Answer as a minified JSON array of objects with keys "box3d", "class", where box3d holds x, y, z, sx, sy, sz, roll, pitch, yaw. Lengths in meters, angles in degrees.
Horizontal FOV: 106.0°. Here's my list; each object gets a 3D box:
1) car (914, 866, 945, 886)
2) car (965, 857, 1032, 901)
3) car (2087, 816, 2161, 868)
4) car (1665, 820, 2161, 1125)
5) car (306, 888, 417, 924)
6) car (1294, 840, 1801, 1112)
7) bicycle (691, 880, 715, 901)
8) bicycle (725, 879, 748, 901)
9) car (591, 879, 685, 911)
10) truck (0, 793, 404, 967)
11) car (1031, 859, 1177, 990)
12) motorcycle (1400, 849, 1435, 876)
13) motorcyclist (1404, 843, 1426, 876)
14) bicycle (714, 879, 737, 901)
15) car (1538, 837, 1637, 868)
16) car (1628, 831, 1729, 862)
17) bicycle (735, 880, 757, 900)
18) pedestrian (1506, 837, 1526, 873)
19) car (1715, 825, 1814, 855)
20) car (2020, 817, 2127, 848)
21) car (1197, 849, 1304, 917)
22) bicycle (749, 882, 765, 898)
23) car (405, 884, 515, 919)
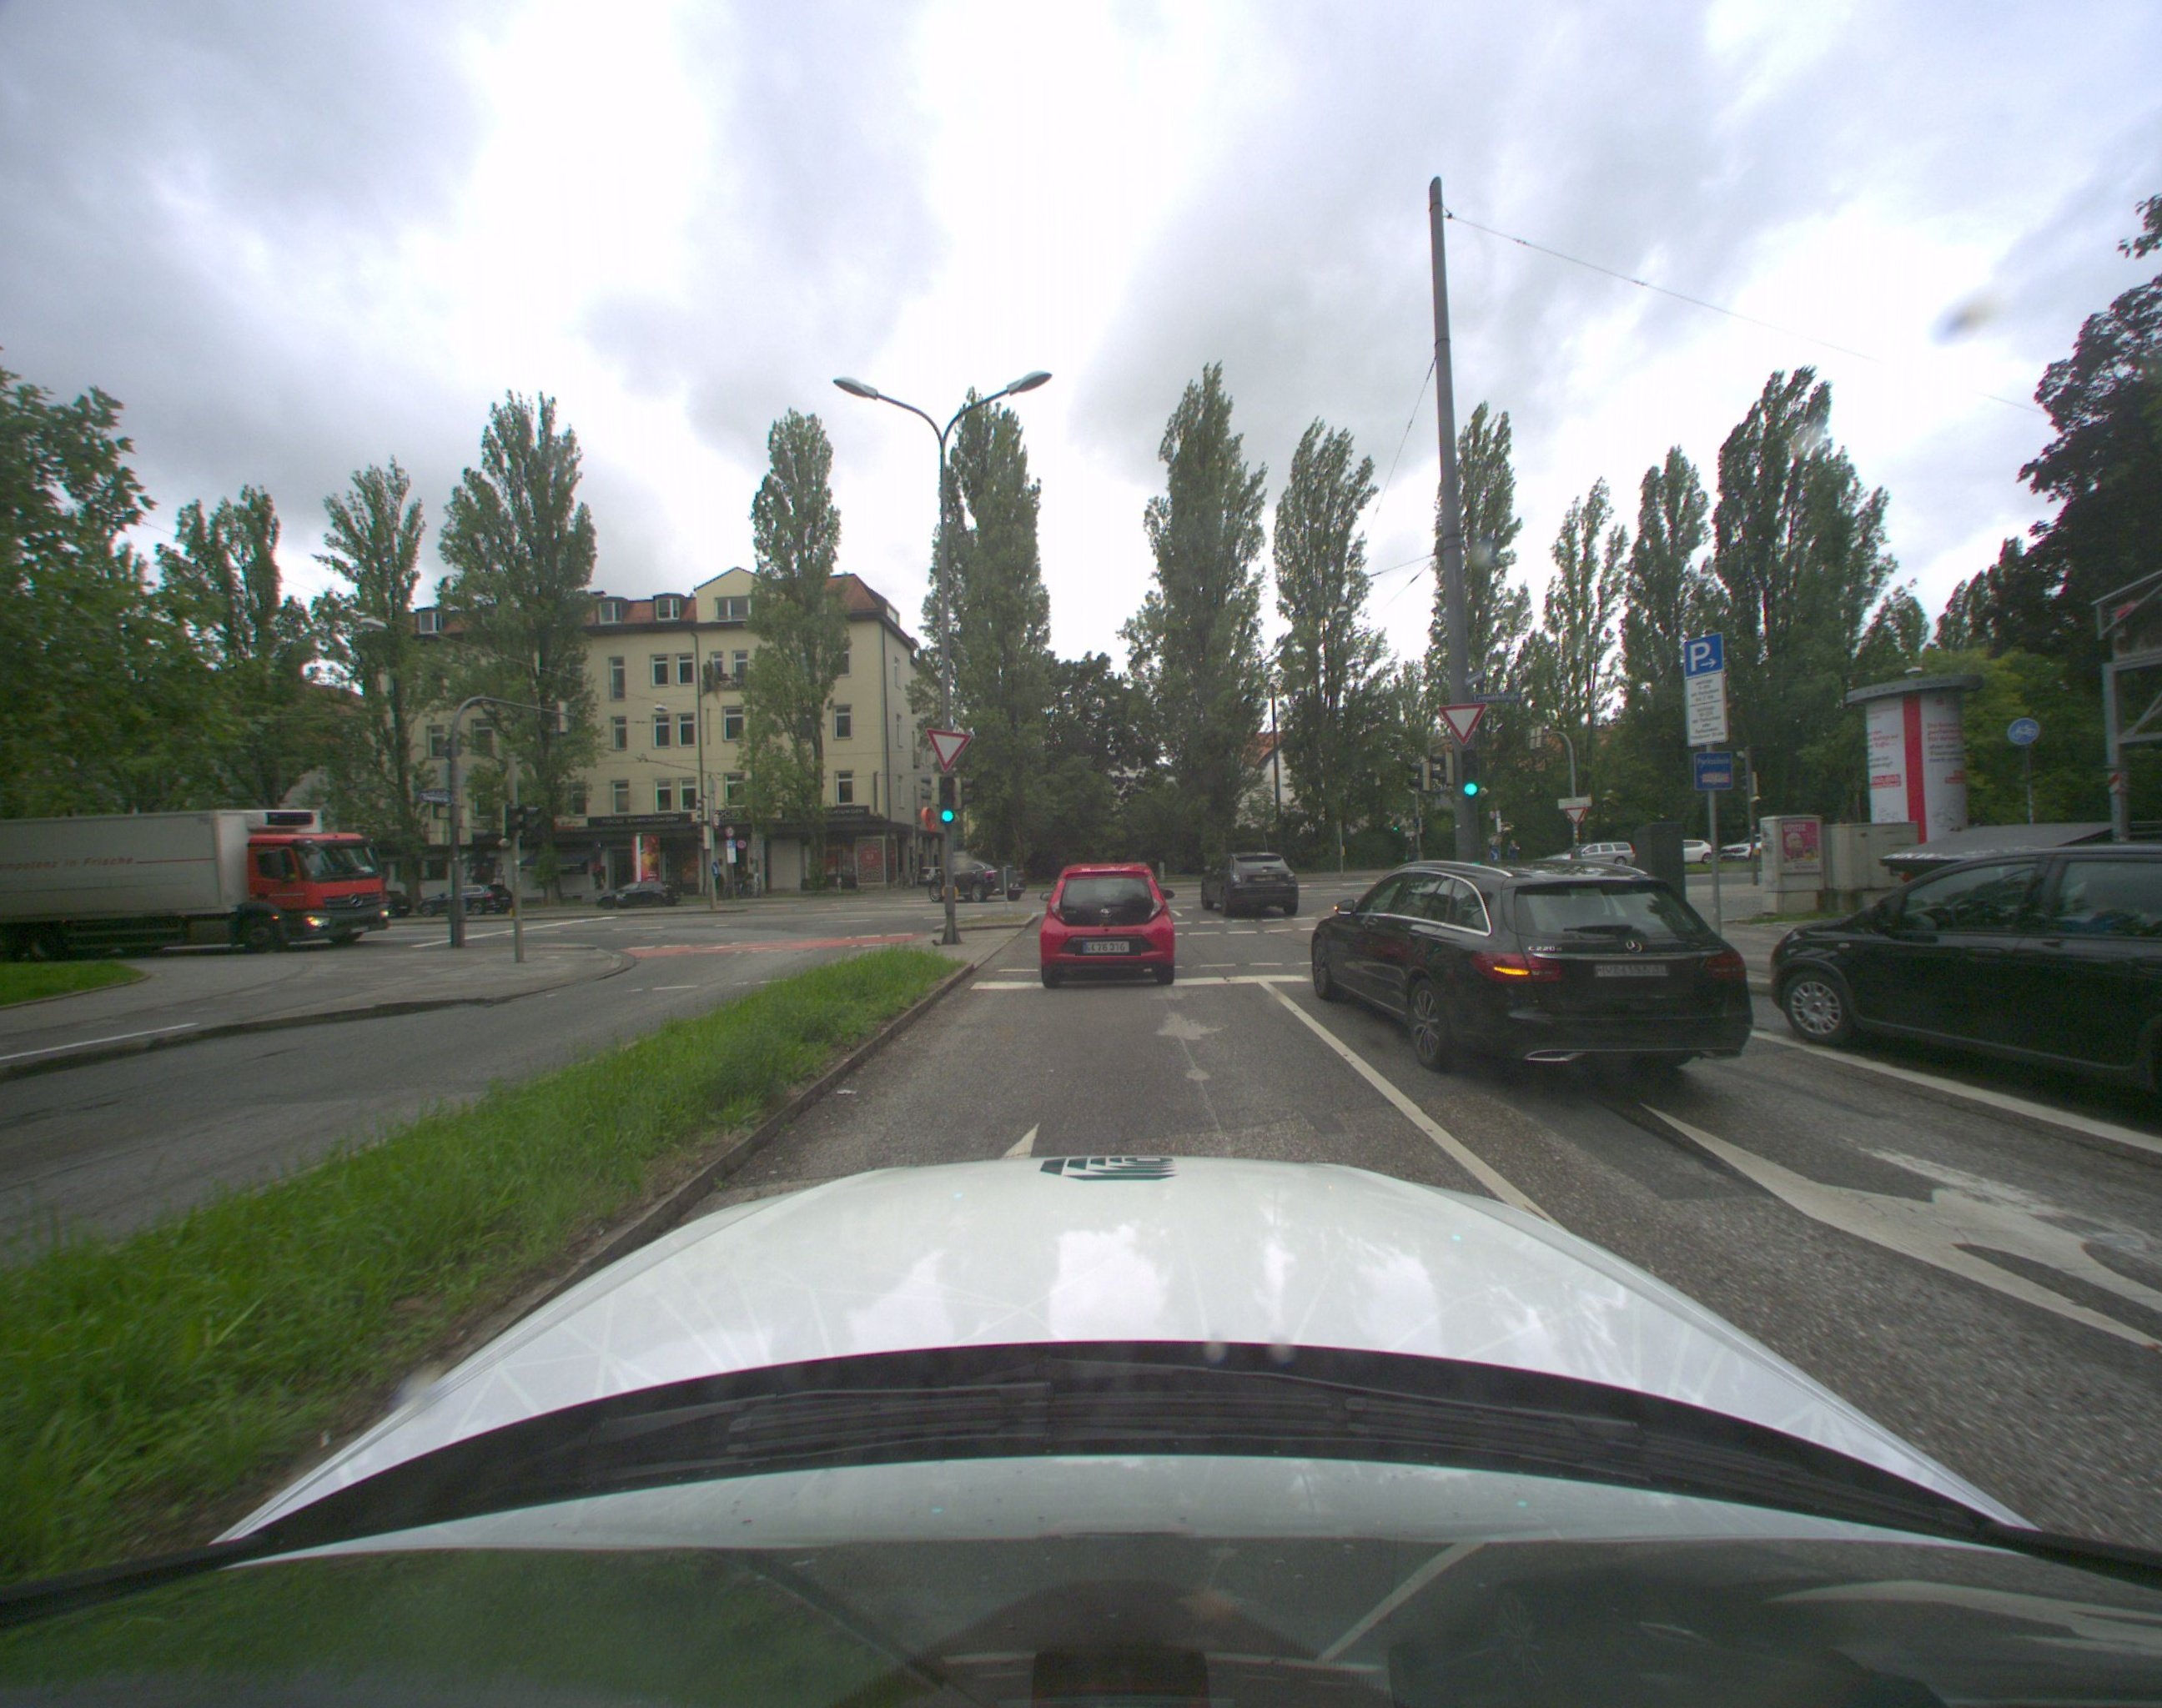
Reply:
[{"box3d":[-11.706,1.679,63.097,1.720,1.442,3.998,-2,0,-1],"class":"car"},{"box3d":[-3.305,0.953,31.954,1.740,1.549,4.550,-2,0,-17],"class":"car"},{"box3d":[31.785,-0.412,23.171,4.351,1.407,1.729,-2,-1,-3],"class":"car"},{"box3d":[6.493,0.578,5.612,1.823,1.549,4.558,-2,0,3],"class":"car"},{"box3d":[-38.217,2.748,43.321,4.275,1.612,1.806,-2,-1,1],"class":"car"},{"box3d":[3.294,0.719,7.043,1.856,1.549,4.706,-1,0,3],"class":"car"},{"box3d":[-22.102,2.118,47.626,0.493,1.185,1.888,-2,-1,-1],"class":"bicycle"},{"box3d":[-20.058,2.066,47.488,0.493,1.185,1.888,-2,-1,-1],"class":"bicycle"},{"box3d":[-23.556,2.183,43.392,3.976,1.466,1.804,-2,-1,-2],"class":"car"},{"box3d":[-25.036,0.730,21.691,11.634,3.980,2.749,-3,1,1],"class":"truck"},{"box3d":[0.372,0.819,11.054,1.621,1.440,3.380,-2,0,3],"class":"car"},{"box3d":[15.239,0.385,36.946,0.627,1.170,2.027,-1,-1,-2],"class":"motorcycle"},{"box3d":[15.224,0.253,37.148,0.617,1.443,0.881,-1,-1,-3],"class":"motorcyclist"},{"box3d":[-20.752,2.076,47.583,0.493,1.185,1.888,-2,-1,-1],"class":"bicycle"},{"box3d":[28.011,-0.055,45.087,4.324,1.486,1.786,-3,-1,0],"class":"car"},{"box3d":[33.223,-0.382,45.347,4.231,1.486,1.786,-3,-1,0],"class":"car"},{"box3d":[-19.532,2.068,47.527,0.493,1.082,1.888,-2,-1,-1],"class":"bicycle"},{"box3d":[20.775,0.052,38.875,0.693,1.663,0.555,-2,-2,42],"class":"pedestrian"},{"box3d":[38.396,-0.764,45.820,4.116,1.486,1.785,-3,-1,-3],"class":"car"},{"box3d":[57.101,-1.220,46.888,4.116,1.486,1.785,-3,-1,-3],"class":"car"},{"box3d":[4.190,0.701,20.725,1.776,1.486,3.998,-3,-1,-1],"class":"car"},{"box3d":[-19.596,2.186,49.258,0.386,0.883,1.371,-2,-1,-1],"class":"bicycle"},{"box3d":[-32.810,2.496,43.101,4.440,1.612,1.727,-2,-1,1],"class":"car"}]
